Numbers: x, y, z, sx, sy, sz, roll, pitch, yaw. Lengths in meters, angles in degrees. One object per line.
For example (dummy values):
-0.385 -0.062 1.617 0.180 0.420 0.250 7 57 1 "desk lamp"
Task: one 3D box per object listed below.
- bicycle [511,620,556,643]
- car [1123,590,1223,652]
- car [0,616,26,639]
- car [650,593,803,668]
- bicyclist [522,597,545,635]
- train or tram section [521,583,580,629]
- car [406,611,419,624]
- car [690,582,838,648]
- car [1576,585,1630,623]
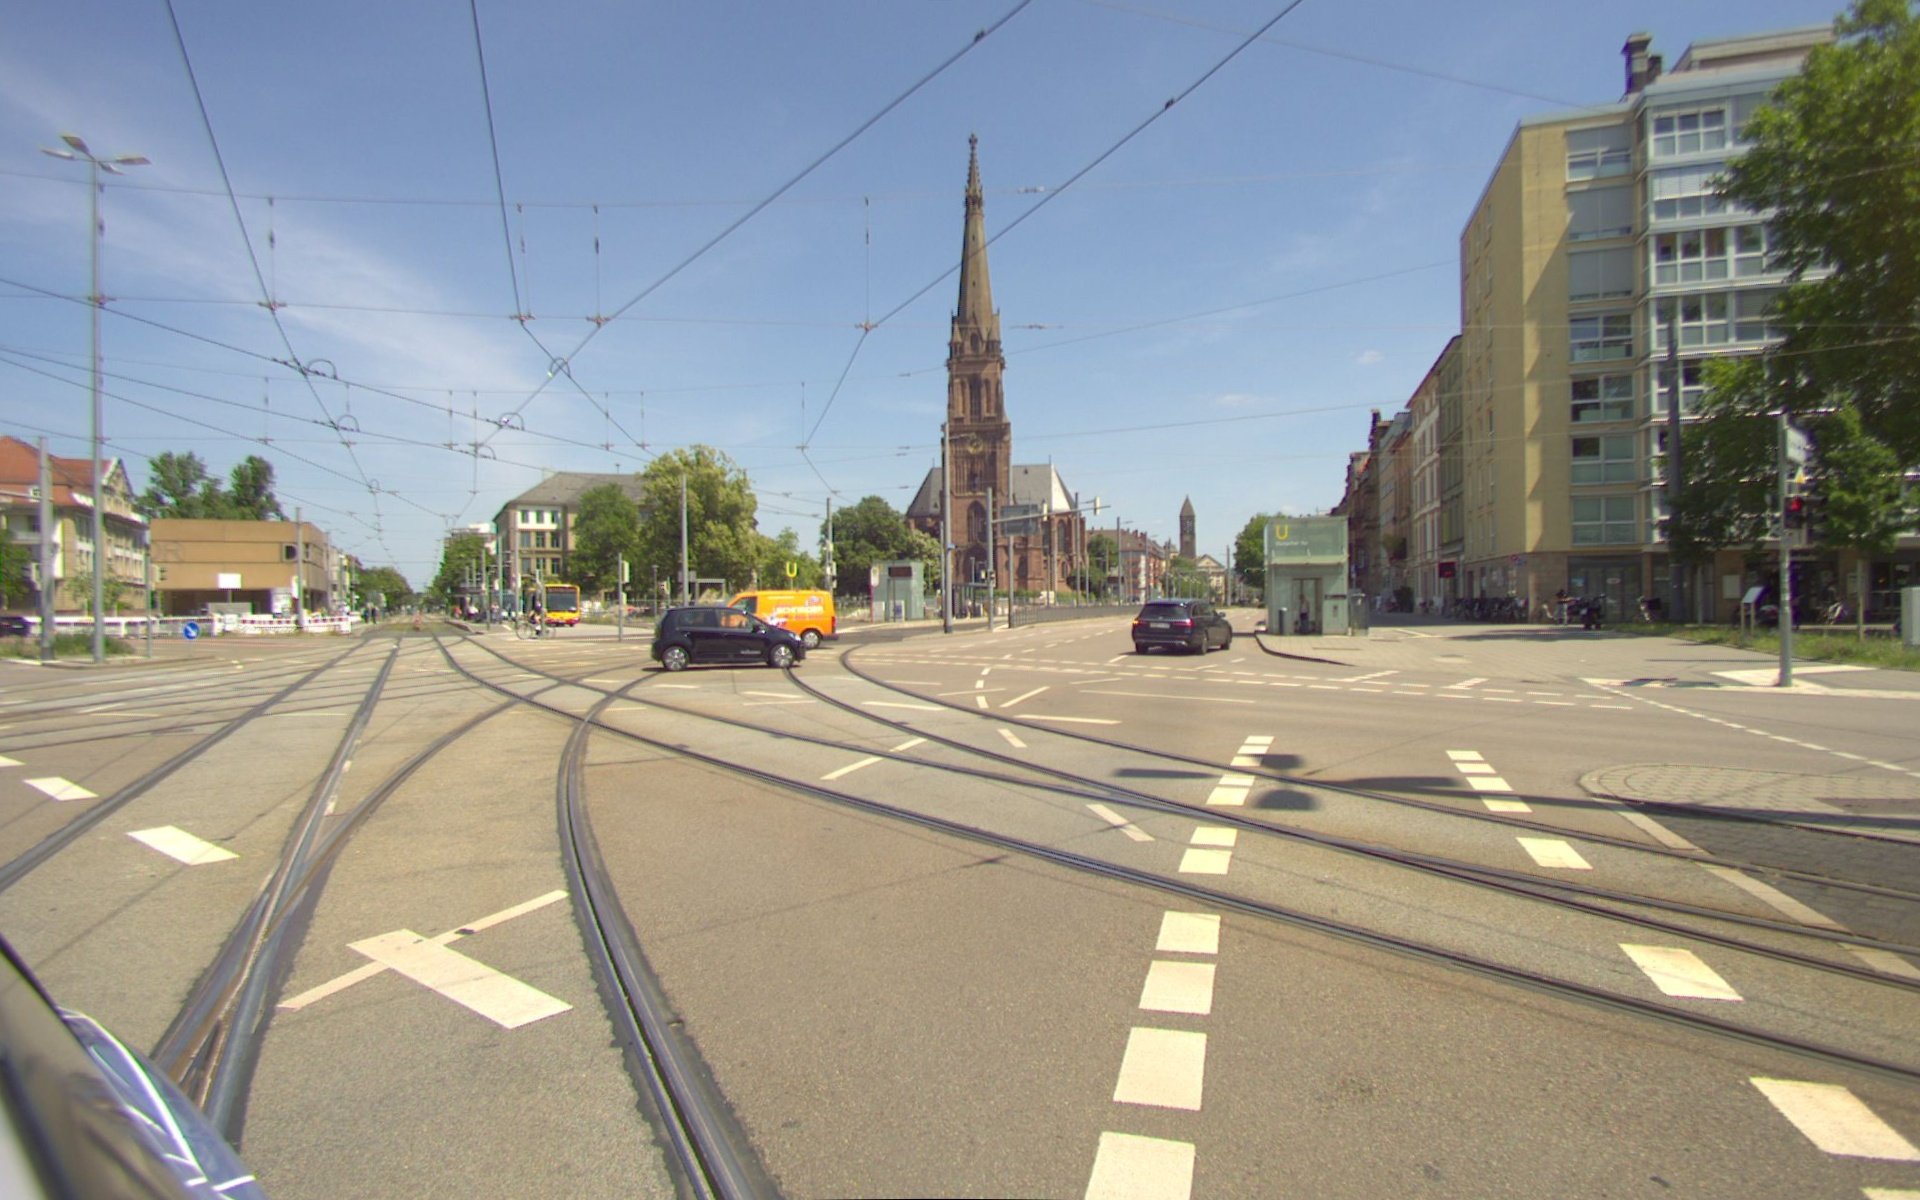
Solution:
-19.666 1.430 46.692 1.878 0.986 0.529 -1 0 -45 "bicycle"
5.878 0.529 27.576 1.770 1.541 3.965 -1 0 26 "car"
-61.385 1.762 64.551 2.966 1.469 1.527 -1 0 22 "car"
-5.419 0.678 23.457 3.329 1.586 1.338 -1 0 -16 "car"
-19.687 0.741 46.715 0.801 1.701 0.529 -1 0 -44 "bicyclist"
-30.859 0.434 76.048 2.795 3.238 9.137 -1 0 -30 "train or tram section"
-73.520 2.352 135.929 1.417 1.608 4.012 -1 0 -30 "car"
-6.518 0.475 33.566 4.516 2.029 2.006 -1 0 -20 "car"
22.266 0.133 35.059 1.956 1.163 0.504 -4 1 -22 "car"
